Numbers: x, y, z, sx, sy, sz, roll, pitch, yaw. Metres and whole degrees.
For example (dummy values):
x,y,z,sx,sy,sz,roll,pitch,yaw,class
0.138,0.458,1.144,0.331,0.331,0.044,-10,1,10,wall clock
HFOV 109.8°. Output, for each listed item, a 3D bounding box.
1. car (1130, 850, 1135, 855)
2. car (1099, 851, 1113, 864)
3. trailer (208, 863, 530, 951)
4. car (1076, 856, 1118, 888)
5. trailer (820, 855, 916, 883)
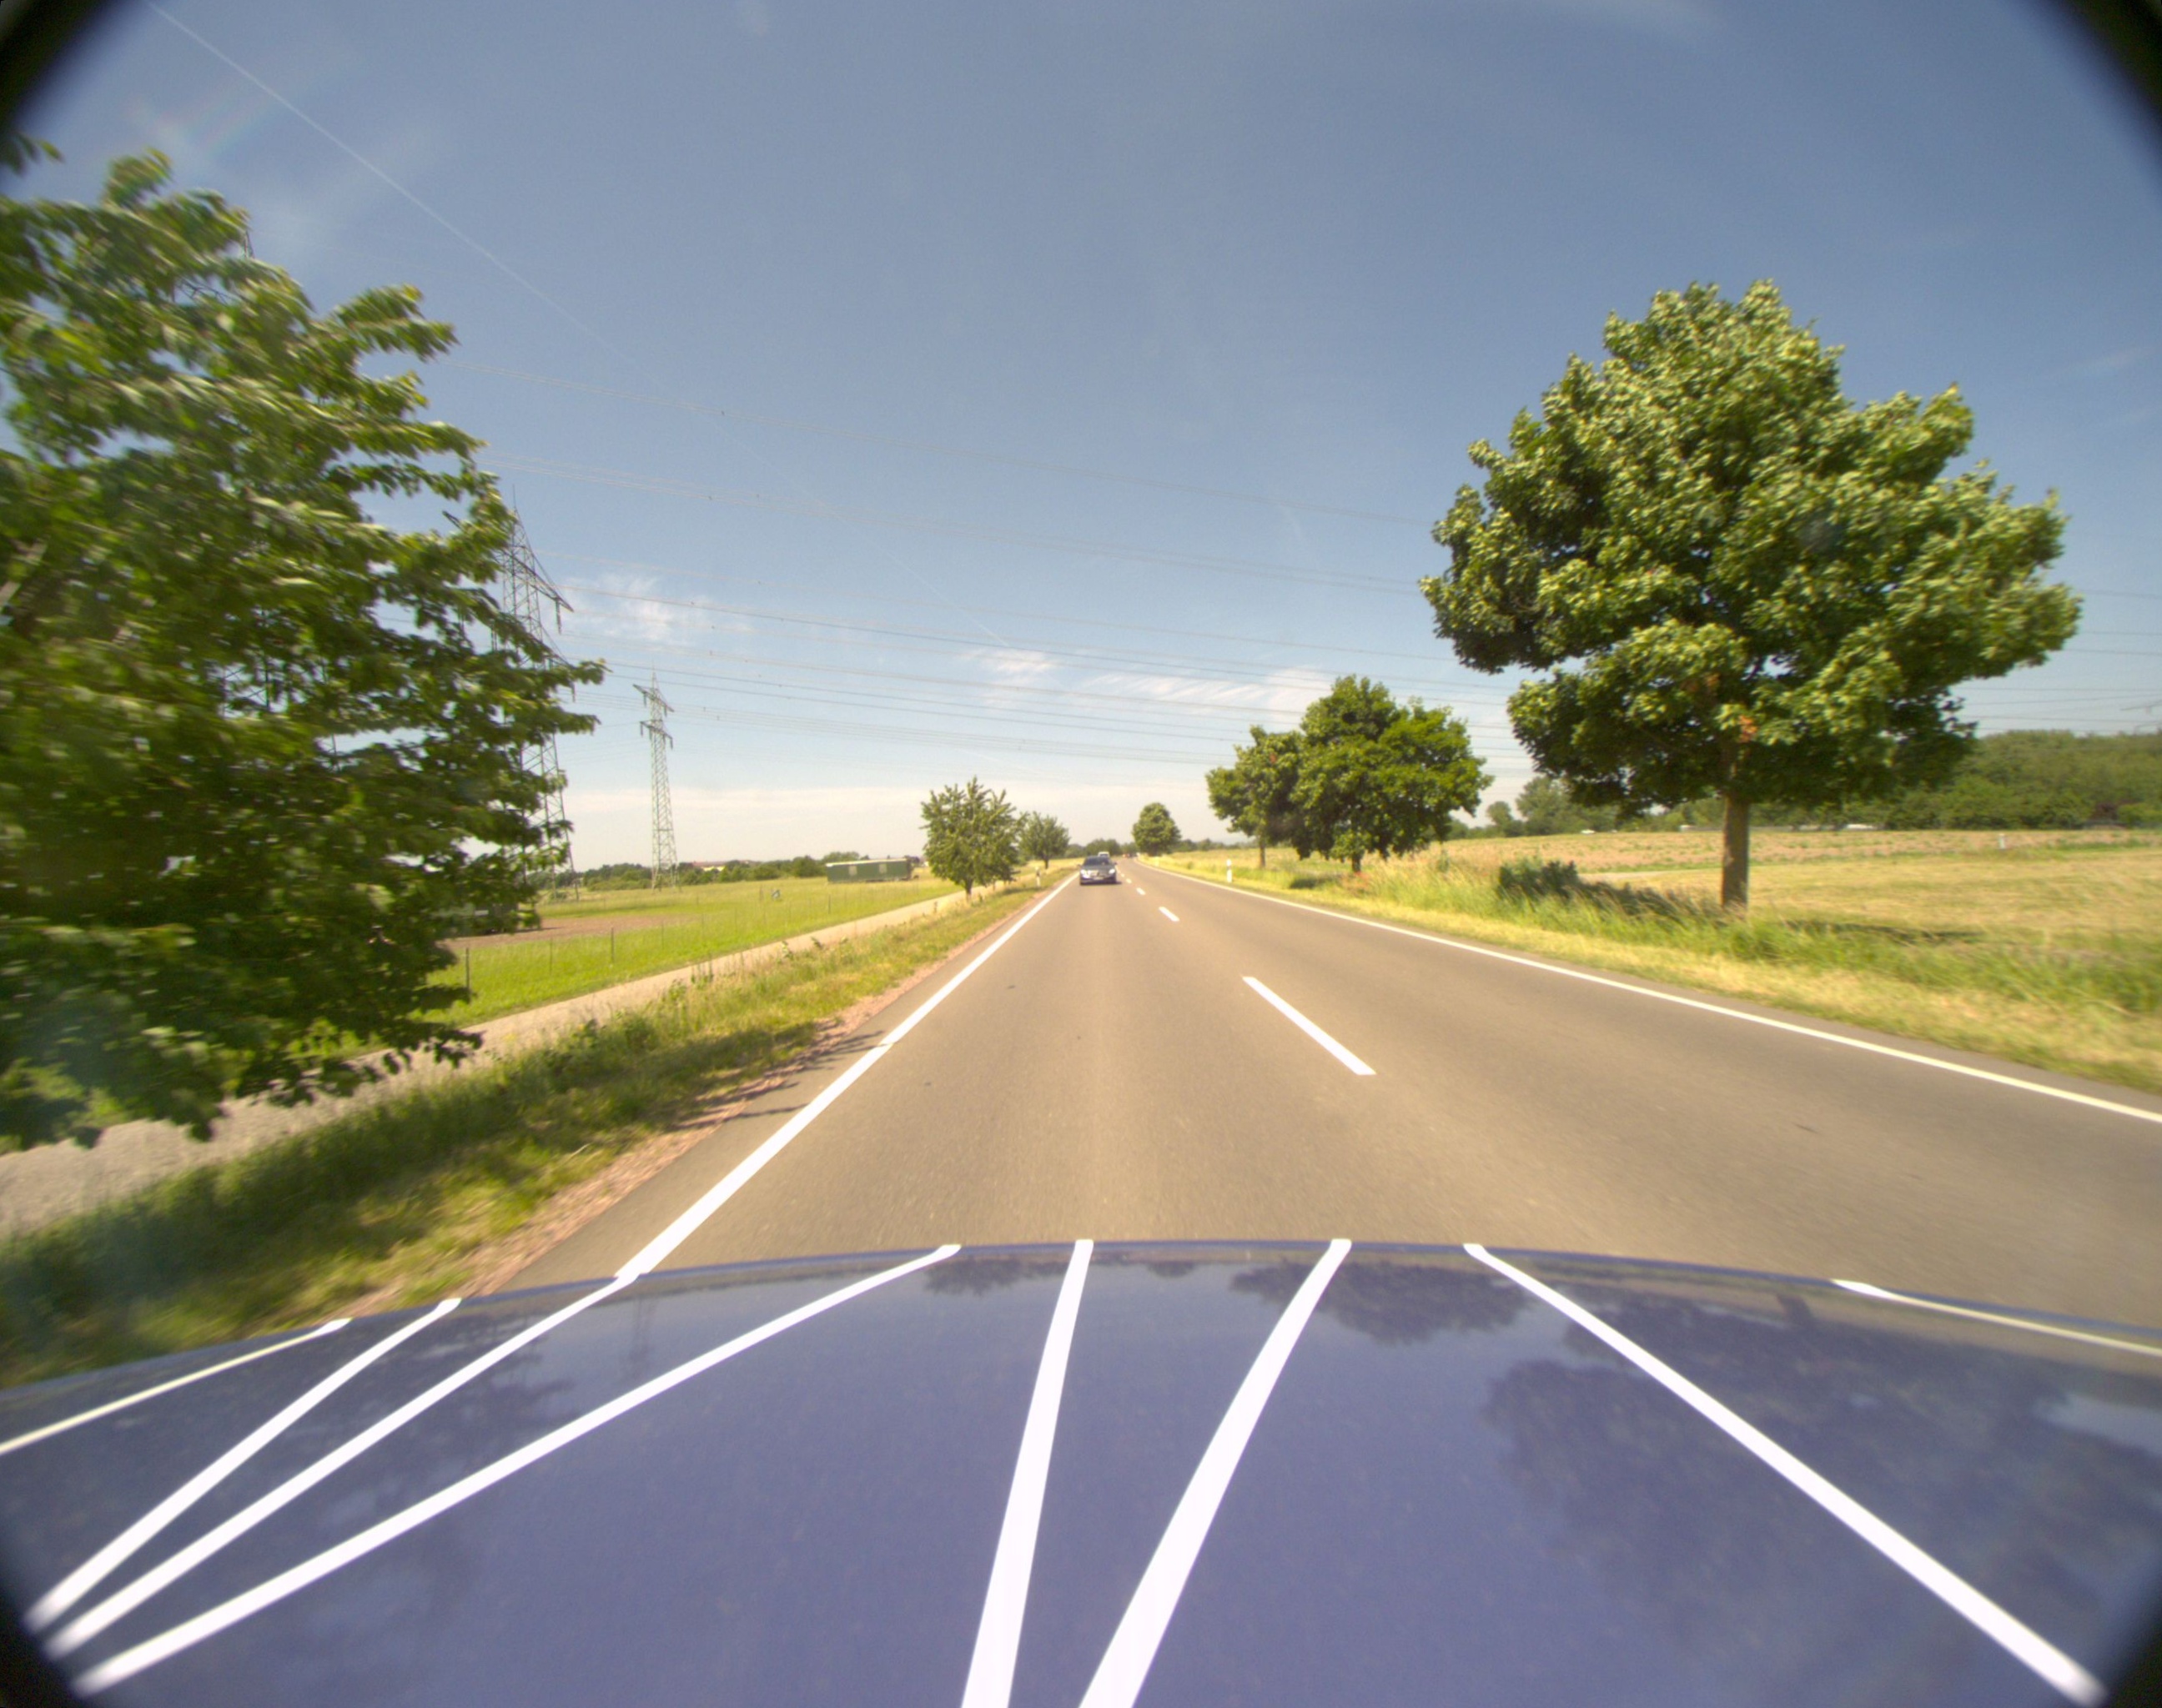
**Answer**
x,y,z,sx,sy,sz,roll,pitch,yaw,class
17.150,-0.437,252.931,1.738,1.439,4.001,-2,1,4,car
3.991,0.507,122.399,1.999,1.907,4.206,-3,0,0,car
-35.239,2.538,38.028,12.441,3.452,3.805,-3,0,1,trailer
0.733,0.836,37.218,1.954,1.391,3.999,-1,0,0,car
-32.254,2.289,115.259,13.541,3.455,3.277,-3,0,2,trailer
